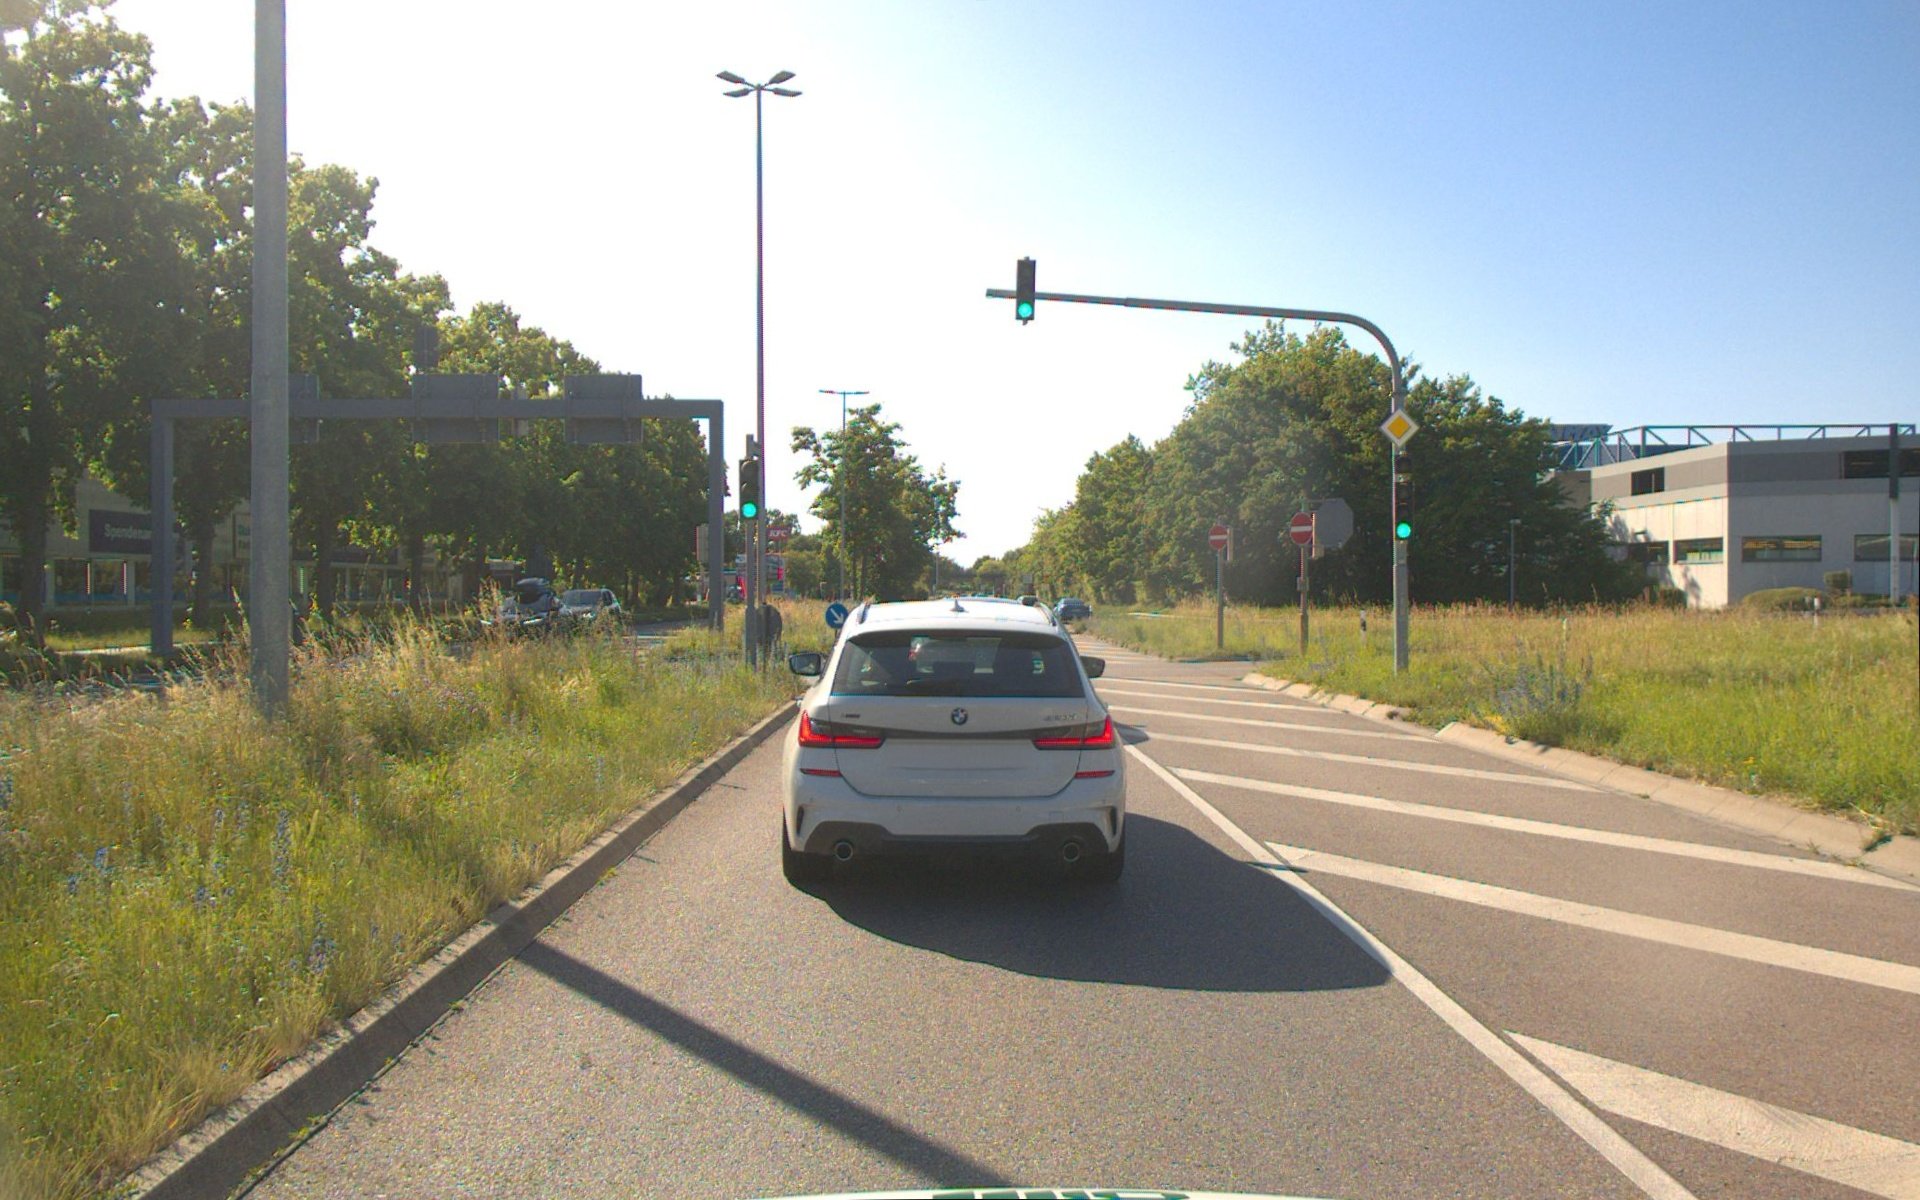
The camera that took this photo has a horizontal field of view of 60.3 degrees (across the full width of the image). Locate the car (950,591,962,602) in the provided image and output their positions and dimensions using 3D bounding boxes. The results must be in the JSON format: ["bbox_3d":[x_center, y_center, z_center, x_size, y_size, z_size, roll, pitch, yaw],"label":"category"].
[{"bbox_3d":[-0.605,-0.457,243.146,1.824,1.592,4.547,0,0,-1],"label":"car"}]

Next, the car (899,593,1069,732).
[{"bbox_3d":[0.237,0.665,20.088,1.824,1.480,4.547,0,0,-1],"label":"car"}]

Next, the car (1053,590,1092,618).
[{"bbox_3d":[6.356,0.213,93.875,1.824,1.525,4.336,0,0,-1],"label":"car"}]

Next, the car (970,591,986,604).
[{"bbox_3d":[2.152,-0.314,197.459,1.824,1.592,4.547,-1,0,-1],"label":"car"}]

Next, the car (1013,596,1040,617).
[{"bbox_3d":[5.050,0.490,125.676,1.736,1.583,3.832,0,0,-2],"label":"car"}]

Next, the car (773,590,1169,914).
[{"bbox_3d":[0.050,0.688,9.916,1.823,1.480,4.547,0,0,0],"label":"car"}]

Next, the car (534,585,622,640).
[{"bbox_3d":[-12.915,0.394,56.200,1.902,1.726,4.629,-2,1,-1],"label":"car"}]

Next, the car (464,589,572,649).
[{"bbox_3d":[-12.646,0.510,47.597,1.838,1.569,4.572,-2,0,0],"label":"car"}]
